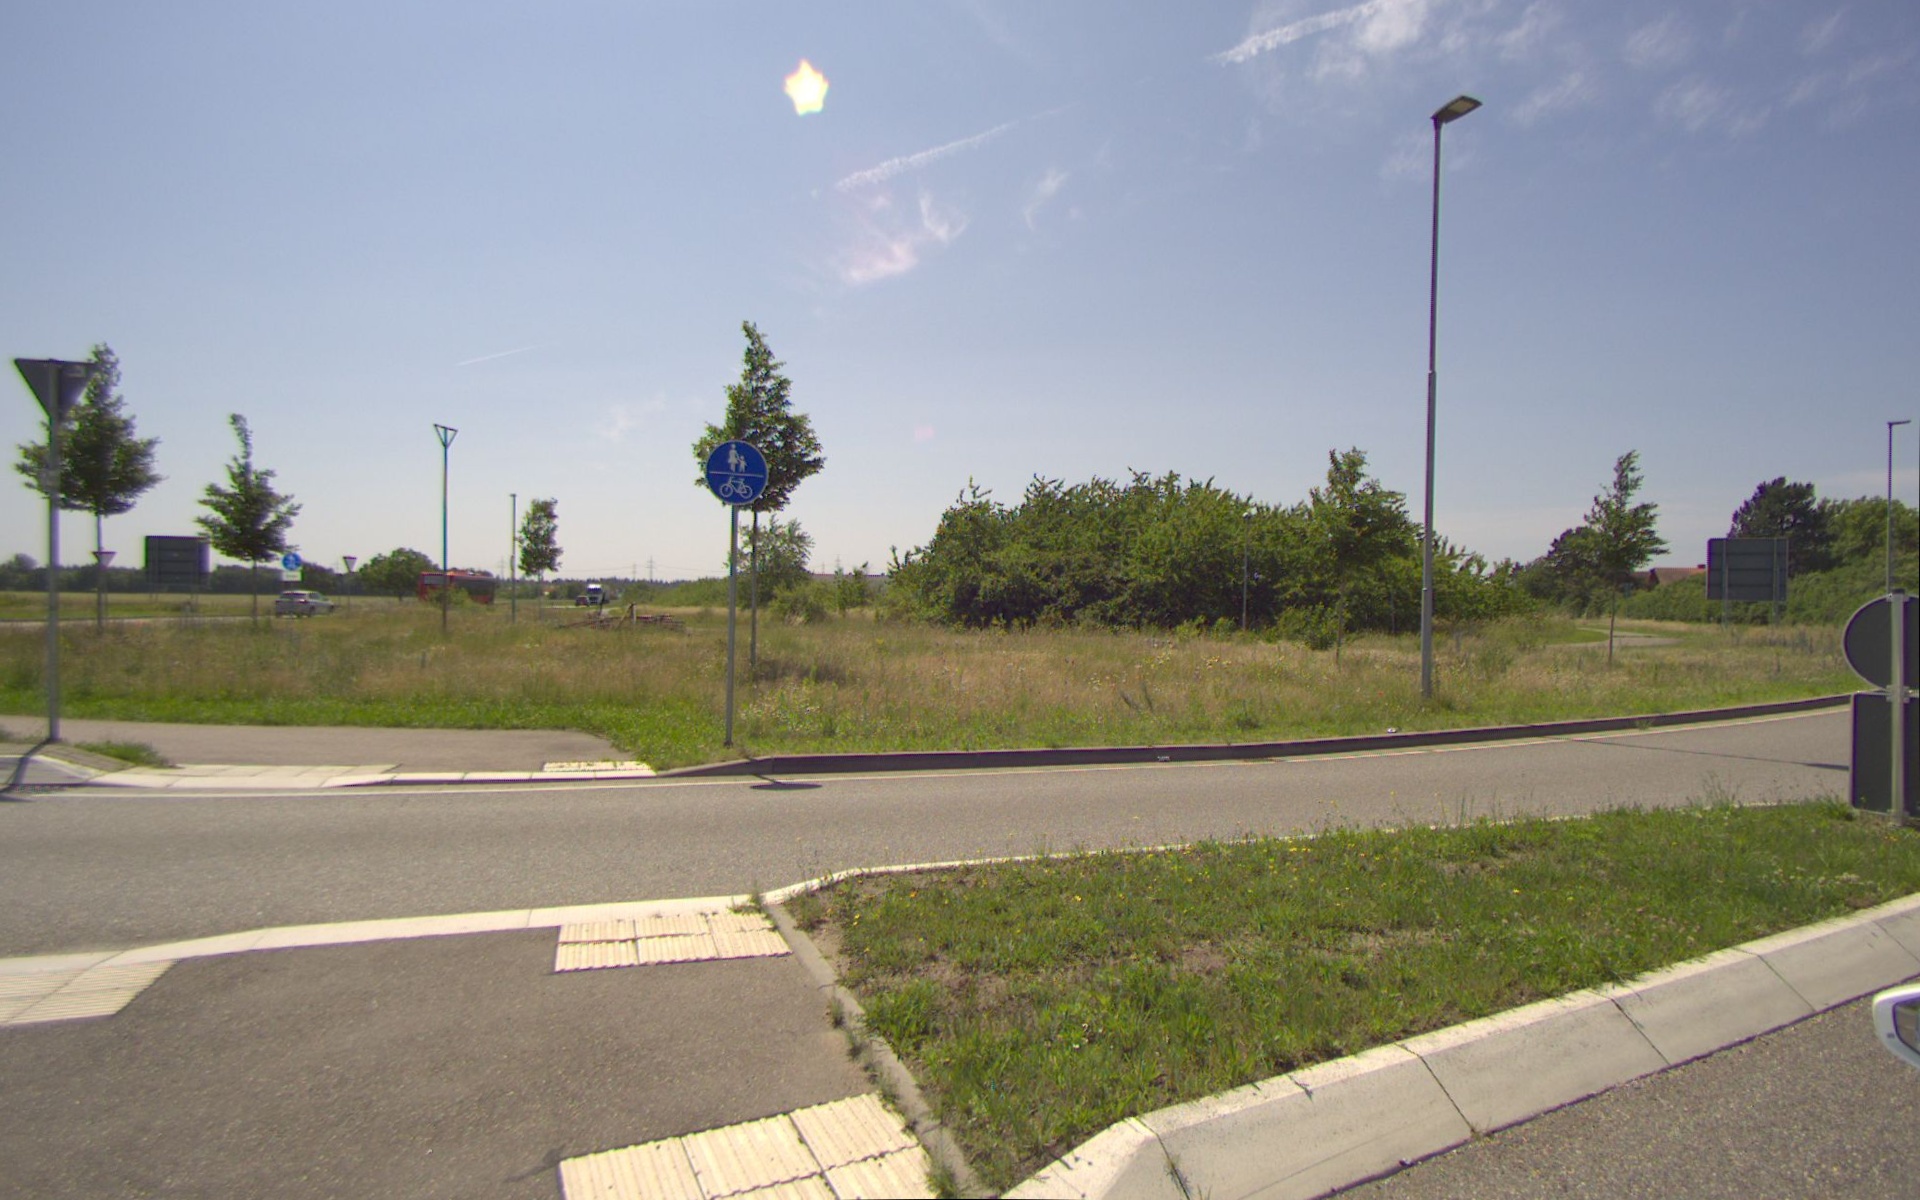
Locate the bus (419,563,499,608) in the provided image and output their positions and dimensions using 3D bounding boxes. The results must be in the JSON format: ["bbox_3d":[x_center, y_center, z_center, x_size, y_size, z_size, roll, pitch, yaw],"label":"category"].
[{"bbox_3d":[-40.349,-1.063,81.392,3.258,3.353,11.955,1,0,-14],"label":"bus"}]

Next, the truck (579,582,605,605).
[{"bbox_3d":[-73.180,-1.163,200.104,3.220,4.395,12.028,1,0,-12],"label":"truck"}]

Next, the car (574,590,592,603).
[{"bbox_3d":[-57.496,-0.569,153.233,1.965,1.951,3.991,1,0,-11],"label":"car"}]

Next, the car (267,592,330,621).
[{"bbox_3d":[-35.300,0.327,53.686,1.700,1.483,3.592,1,0,-14],"label":"car"}]
